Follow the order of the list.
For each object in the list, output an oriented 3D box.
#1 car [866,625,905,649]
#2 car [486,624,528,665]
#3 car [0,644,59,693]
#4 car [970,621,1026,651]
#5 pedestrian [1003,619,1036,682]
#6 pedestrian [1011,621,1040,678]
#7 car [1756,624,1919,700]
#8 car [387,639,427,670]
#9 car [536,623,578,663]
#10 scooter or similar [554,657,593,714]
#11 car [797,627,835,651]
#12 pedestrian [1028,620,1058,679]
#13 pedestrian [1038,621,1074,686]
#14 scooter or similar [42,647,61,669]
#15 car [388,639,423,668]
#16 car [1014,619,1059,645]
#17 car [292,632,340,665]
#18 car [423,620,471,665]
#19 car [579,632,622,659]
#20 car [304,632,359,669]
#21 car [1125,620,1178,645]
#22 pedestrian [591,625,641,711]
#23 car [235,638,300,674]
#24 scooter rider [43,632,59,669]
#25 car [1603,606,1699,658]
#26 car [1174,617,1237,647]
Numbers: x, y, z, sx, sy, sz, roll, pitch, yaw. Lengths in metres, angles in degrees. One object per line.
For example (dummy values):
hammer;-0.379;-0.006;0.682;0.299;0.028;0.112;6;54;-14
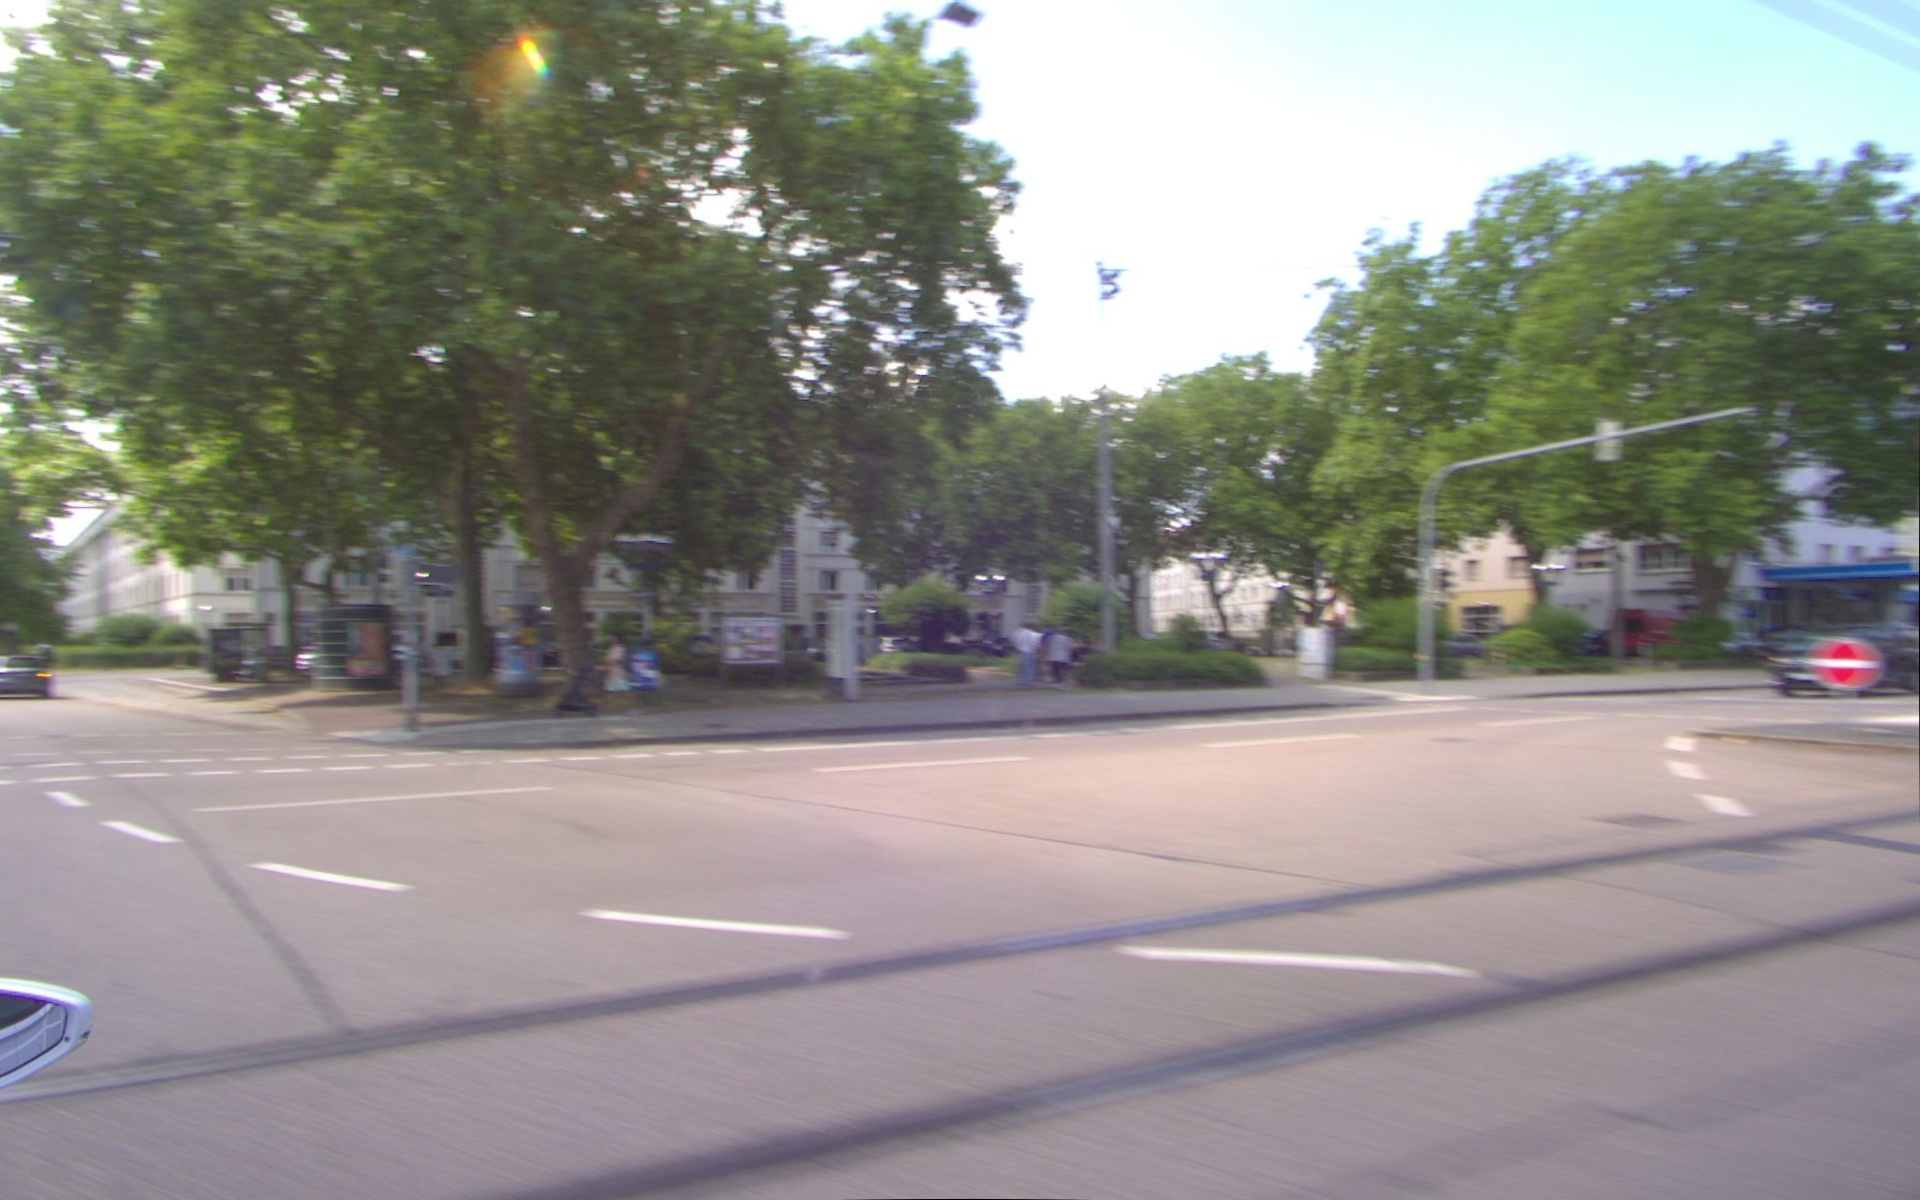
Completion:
car;-5.599;2.749;74.522;1.716;1.658;3.989;0;-1;-23
car;-24.355;2.349;53.917;1.968;2.103;3.987;0;-2;-24
car;-33.201;2.389;35.555;1.681;1.558;3.434;0;-1;-44
car;2.523;2.383;67.127;2.070;1.930;4.478;0;-1;-23
pedestrian;1.724;1.432;28.801;0.685;1.787;0.664;-1;0;41
pedestrian;2.089;1.569;31.966;0.599;1.773;0.693;-1;0;42
car;22.242;1.481;25.052;4.347;1.749;1.848;0;-1;-24
car;-26.470;2.594;47.914;1.450;1.407;3.049;0;-2;-33
car;-21.998;2.331;54.628;1.968;2.103;3.987;0;-2;-24
scooter or similar;-7.598;1.664;19.697;0.697;1.070;0.489;0;0;-23
car;-10.399;2.761;72.103;1.716;1.658;3.989;0;-1;-23
pedestrian;2.528;1.491;30.448;0.599;1.773;0.693;-1;0;41
pedestrian;2.627;1.454;27.342;0.685;1.745;0.714;-1;0;41
scooter or similar;-46.285;2.946;51.012;1.277;1.105;0.546;-1;-1;41
car;-28.494;2.745;51.405;1.450;1.407;3.218;0;-2;-31
car;6.077;2.549;80.146;1.967;1.989;3.989;0;-1;-23
car;-38.176;2.855;59.424;1.882;1.819;4.702;0;-1;-27
car;-26.729;2.191;52.285;1.968;2.211;4.244;0;-2;-24
car;-20.026;2.514;55.729;1.968;1.440;3.987;0;-2;-24
car;-31.649;2.504;50.540;1.882;1.711;4.521;0;-1;-26
car;13.684;2.339;71.638;1.824;1.702;3.989;0;-1;-23
pedestrian;-6.869;1.334;19.986;0.908;1.667;0.568;0;0;-23
car;-34.091;2.703;49.413;2.003;1.621;4.521;0;-1;-26
scooter rider;-46.300;2.574;51.013;0.641;1.835;0.524;-1;0;41
car;33.815;1.548;49.018;3.936;2.451;2.106;0;-1;-24
car;15.551;2.015;63.665;1.839;1.823;3.989;0;-1;-23
